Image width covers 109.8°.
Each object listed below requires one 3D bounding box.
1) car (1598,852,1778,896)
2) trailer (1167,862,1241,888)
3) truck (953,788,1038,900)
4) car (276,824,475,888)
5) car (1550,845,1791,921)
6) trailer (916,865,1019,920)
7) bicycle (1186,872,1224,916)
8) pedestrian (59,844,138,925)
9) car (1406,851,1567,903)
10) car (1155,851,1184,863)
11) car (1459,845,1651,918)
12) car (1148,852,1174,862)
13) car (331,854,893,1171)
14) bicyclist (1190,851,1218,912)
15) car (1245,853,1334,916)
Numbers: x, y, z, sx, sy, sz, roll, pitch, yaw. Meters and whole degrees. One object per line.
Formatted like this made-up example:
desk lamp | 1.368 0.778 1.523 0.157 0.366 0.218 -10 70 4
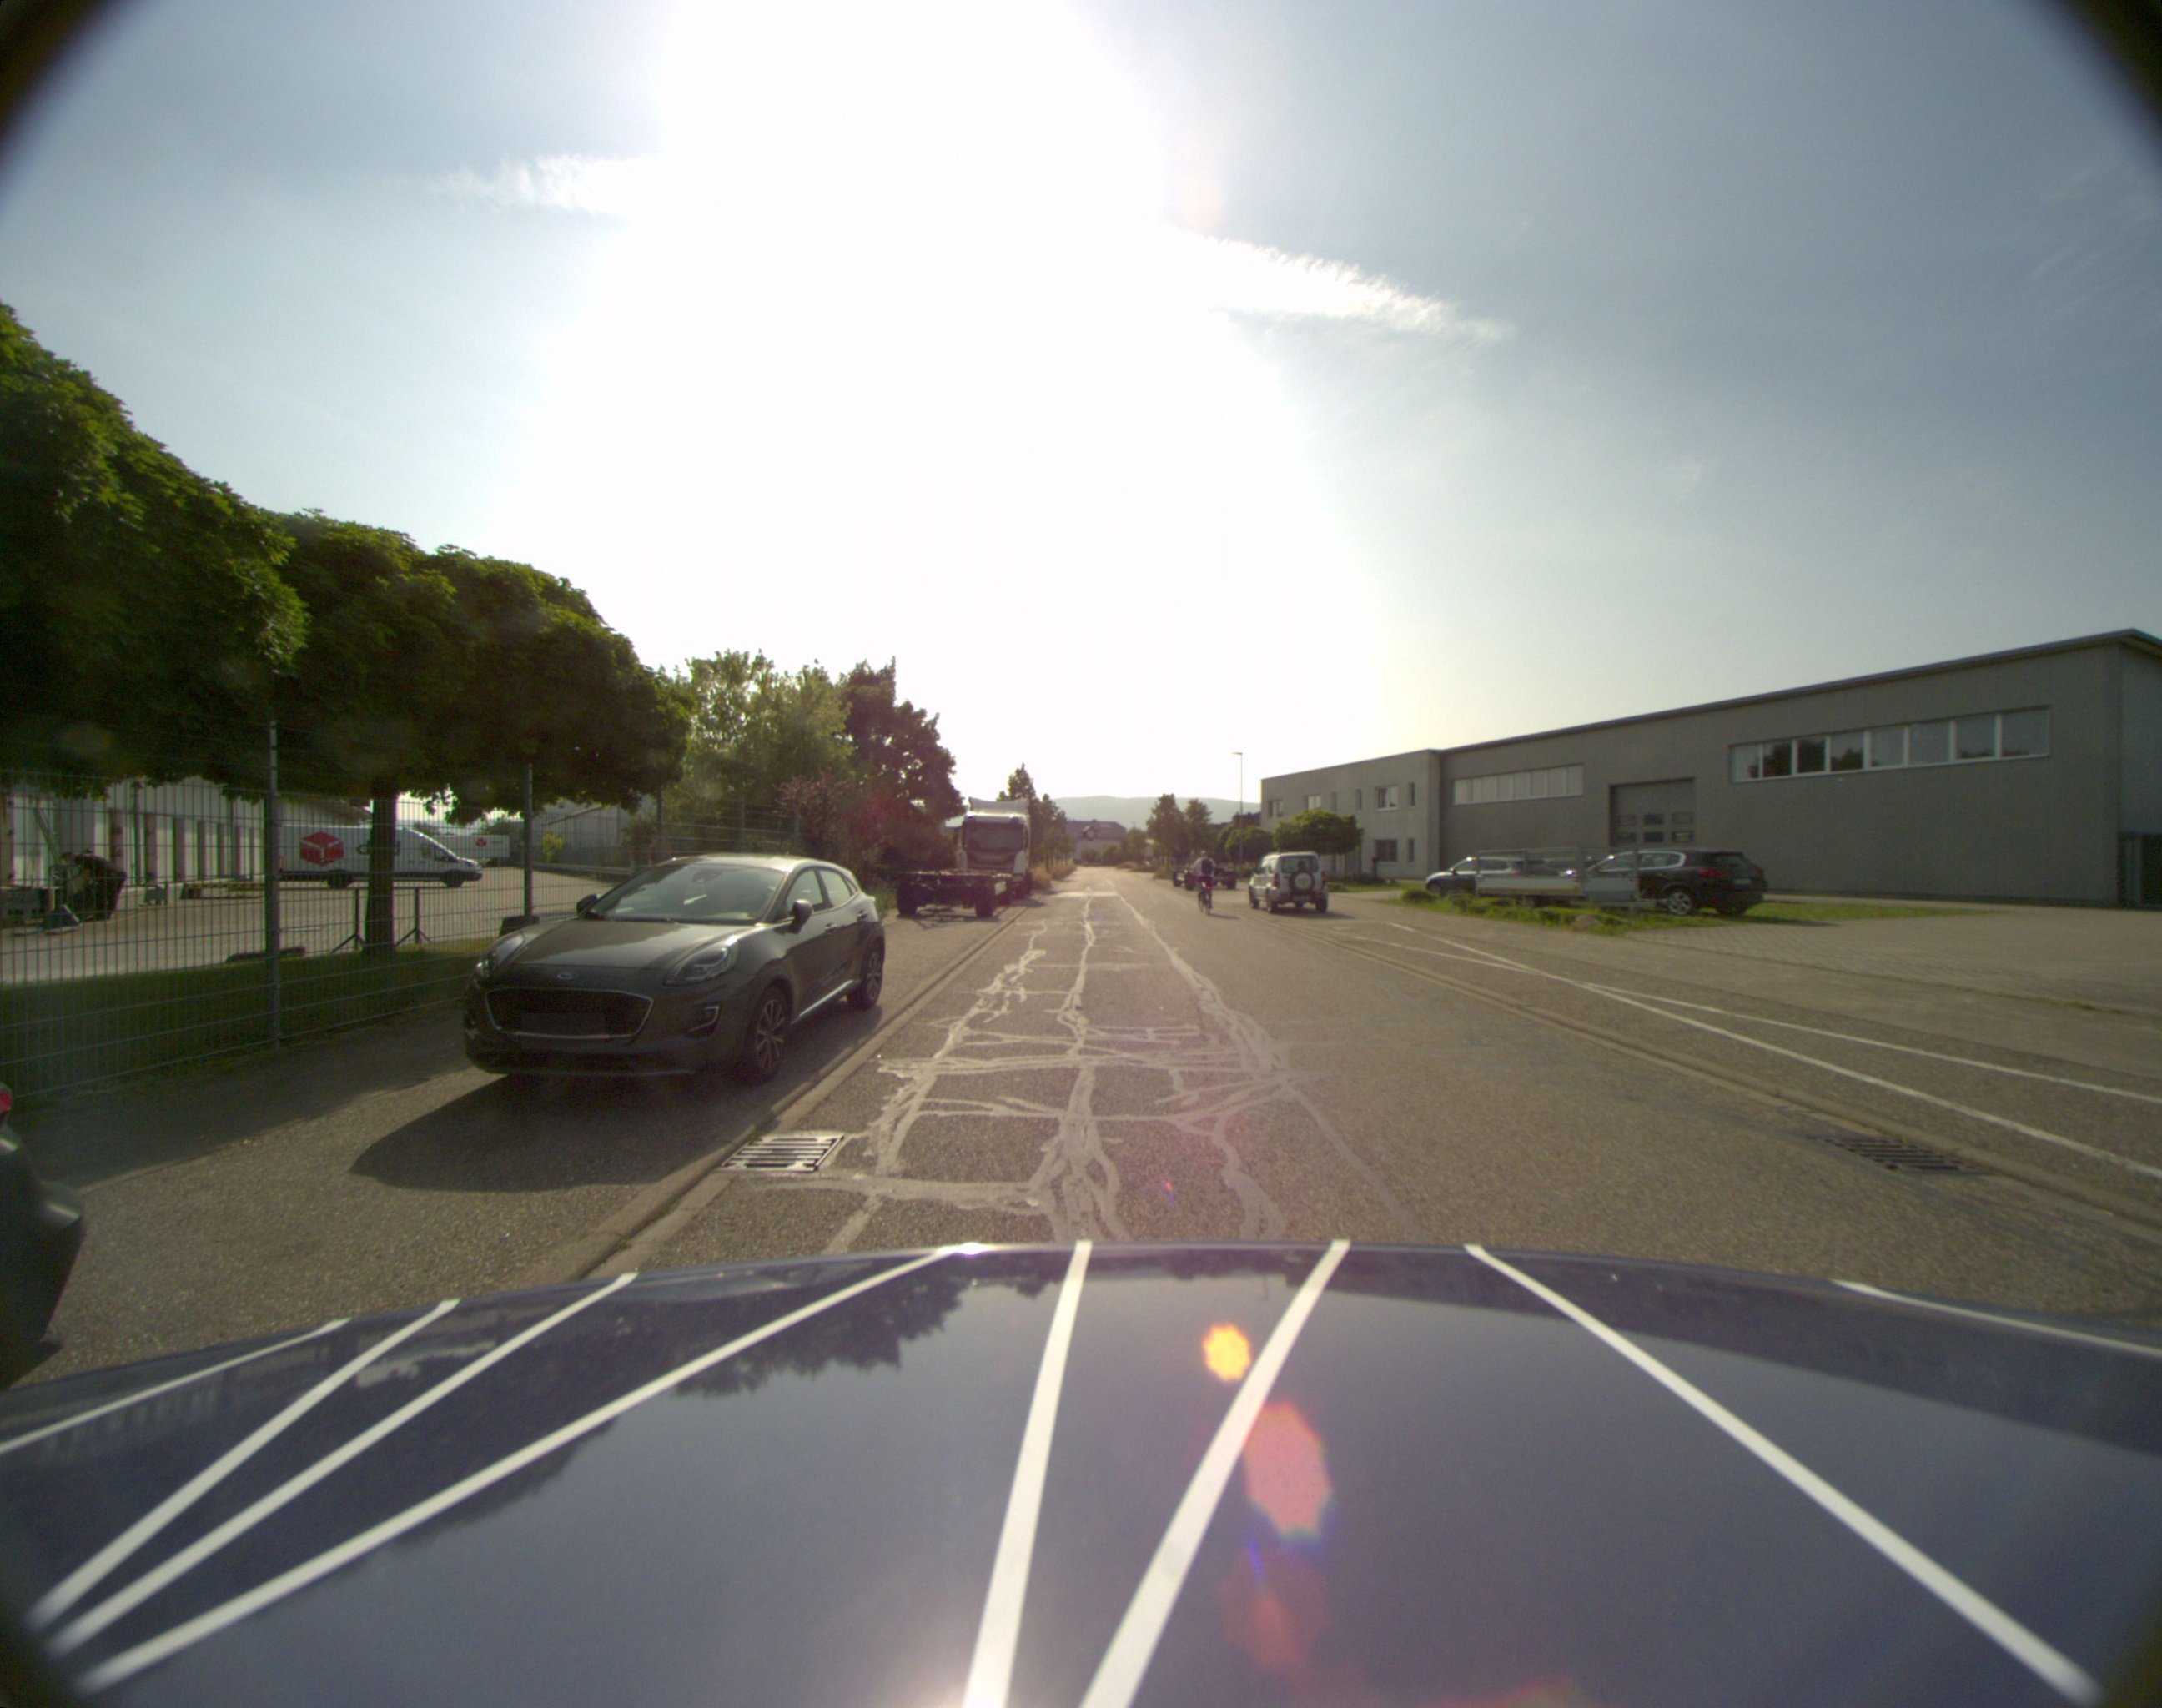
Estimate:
car | 20.190 0.616 25.537 1.997 1.317 4.344 -1 0 -19
trailer | 6.455 1.061 41.266 2.552 1.068 9.732 -2 0 1
truck | -3.264 -0.377 30.434 2.699 3.941 6.047 2 0 -1
car | -30.991 0.073 33.737 6.286 2.633 2.206 0 1 -41
car | 14.488 0.635 19.041 1.997 1.648 4.415 -1 0 -17
trailer | -3.135 1.012 22.630 1.943 1.228 7.450 1 0 0
bicycle | 3.525 1.111 21.708 0.717 1.115 2.219 2 0 1
pedestrian | -21.269 0.640 16.468 0.860 1.712 0.630 0 1 -31
car | 12.740 0.652 24.245 1.983 1.468 4.415 -1 0 -17
car | 12.966 0.497 111.627 3.996 1.718 2.000 0 0 1
car | 11.663 0.617 19.010 1.840 1.563 3.811 -2 1 -16
car | 14.182 0.492 134.401 4.004 1.783 1.996 0 0 -21
car | -3.012 0.846 6.098 1.885 1.565 4.113 2 1 1
bicyclist | 3.515 0.763 21.750 0.641 1.709 1.165 0 0 1
car | 5.956 0.811 22.127 1.601 1.641 3.644 -1 0 1
